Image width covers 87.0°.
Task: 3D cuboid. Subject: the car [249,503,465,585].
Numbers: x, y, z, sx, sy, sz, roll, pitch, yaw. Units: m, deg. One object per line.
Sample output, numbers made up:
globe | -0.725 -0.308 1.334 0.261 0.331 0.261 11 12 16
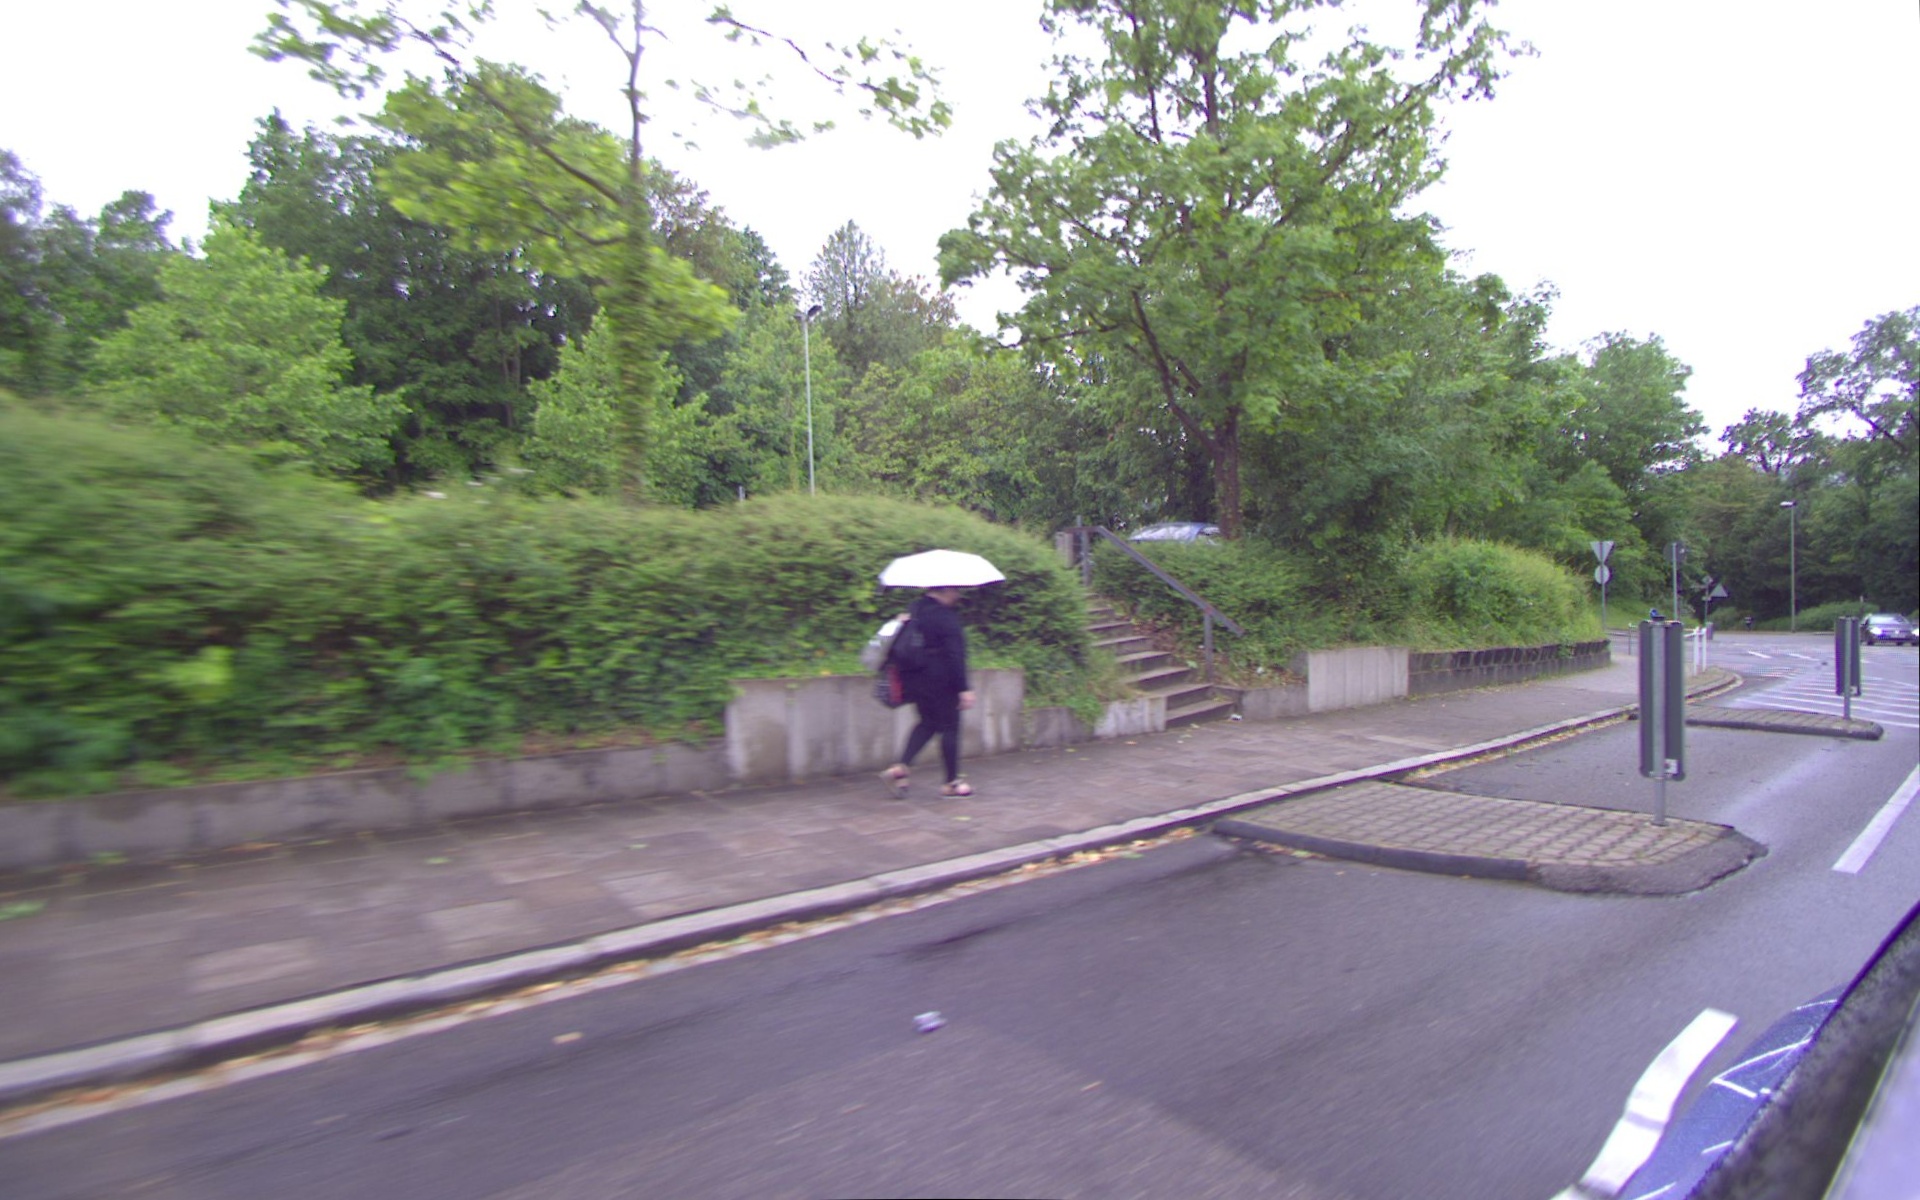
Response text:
car | -13.021 -1.134 21.951 3.713 1.527 1.996 0 -1 -43

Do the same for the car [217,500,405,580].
car | -17.230 -1.512 26.959 3.932 1.839 1.996 0 -1 -43

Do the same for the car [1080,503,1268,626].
car | 3.948 -0.577 18.505 3.356 2.039 1.687 0 -1 -41

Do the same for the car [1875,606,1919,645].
car | 42.666 1.121 45.621 2.029 1.723 3.939 -1 -1 42

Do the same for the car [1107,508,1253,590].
car | 4.037 -0.865 18.386 1.306 1.326 2.832 -1 -1 44

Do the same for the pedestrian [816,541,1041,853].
pedestrian | -0.213 0.573 6.994 1.051 1.916 1.115 0 2 44
